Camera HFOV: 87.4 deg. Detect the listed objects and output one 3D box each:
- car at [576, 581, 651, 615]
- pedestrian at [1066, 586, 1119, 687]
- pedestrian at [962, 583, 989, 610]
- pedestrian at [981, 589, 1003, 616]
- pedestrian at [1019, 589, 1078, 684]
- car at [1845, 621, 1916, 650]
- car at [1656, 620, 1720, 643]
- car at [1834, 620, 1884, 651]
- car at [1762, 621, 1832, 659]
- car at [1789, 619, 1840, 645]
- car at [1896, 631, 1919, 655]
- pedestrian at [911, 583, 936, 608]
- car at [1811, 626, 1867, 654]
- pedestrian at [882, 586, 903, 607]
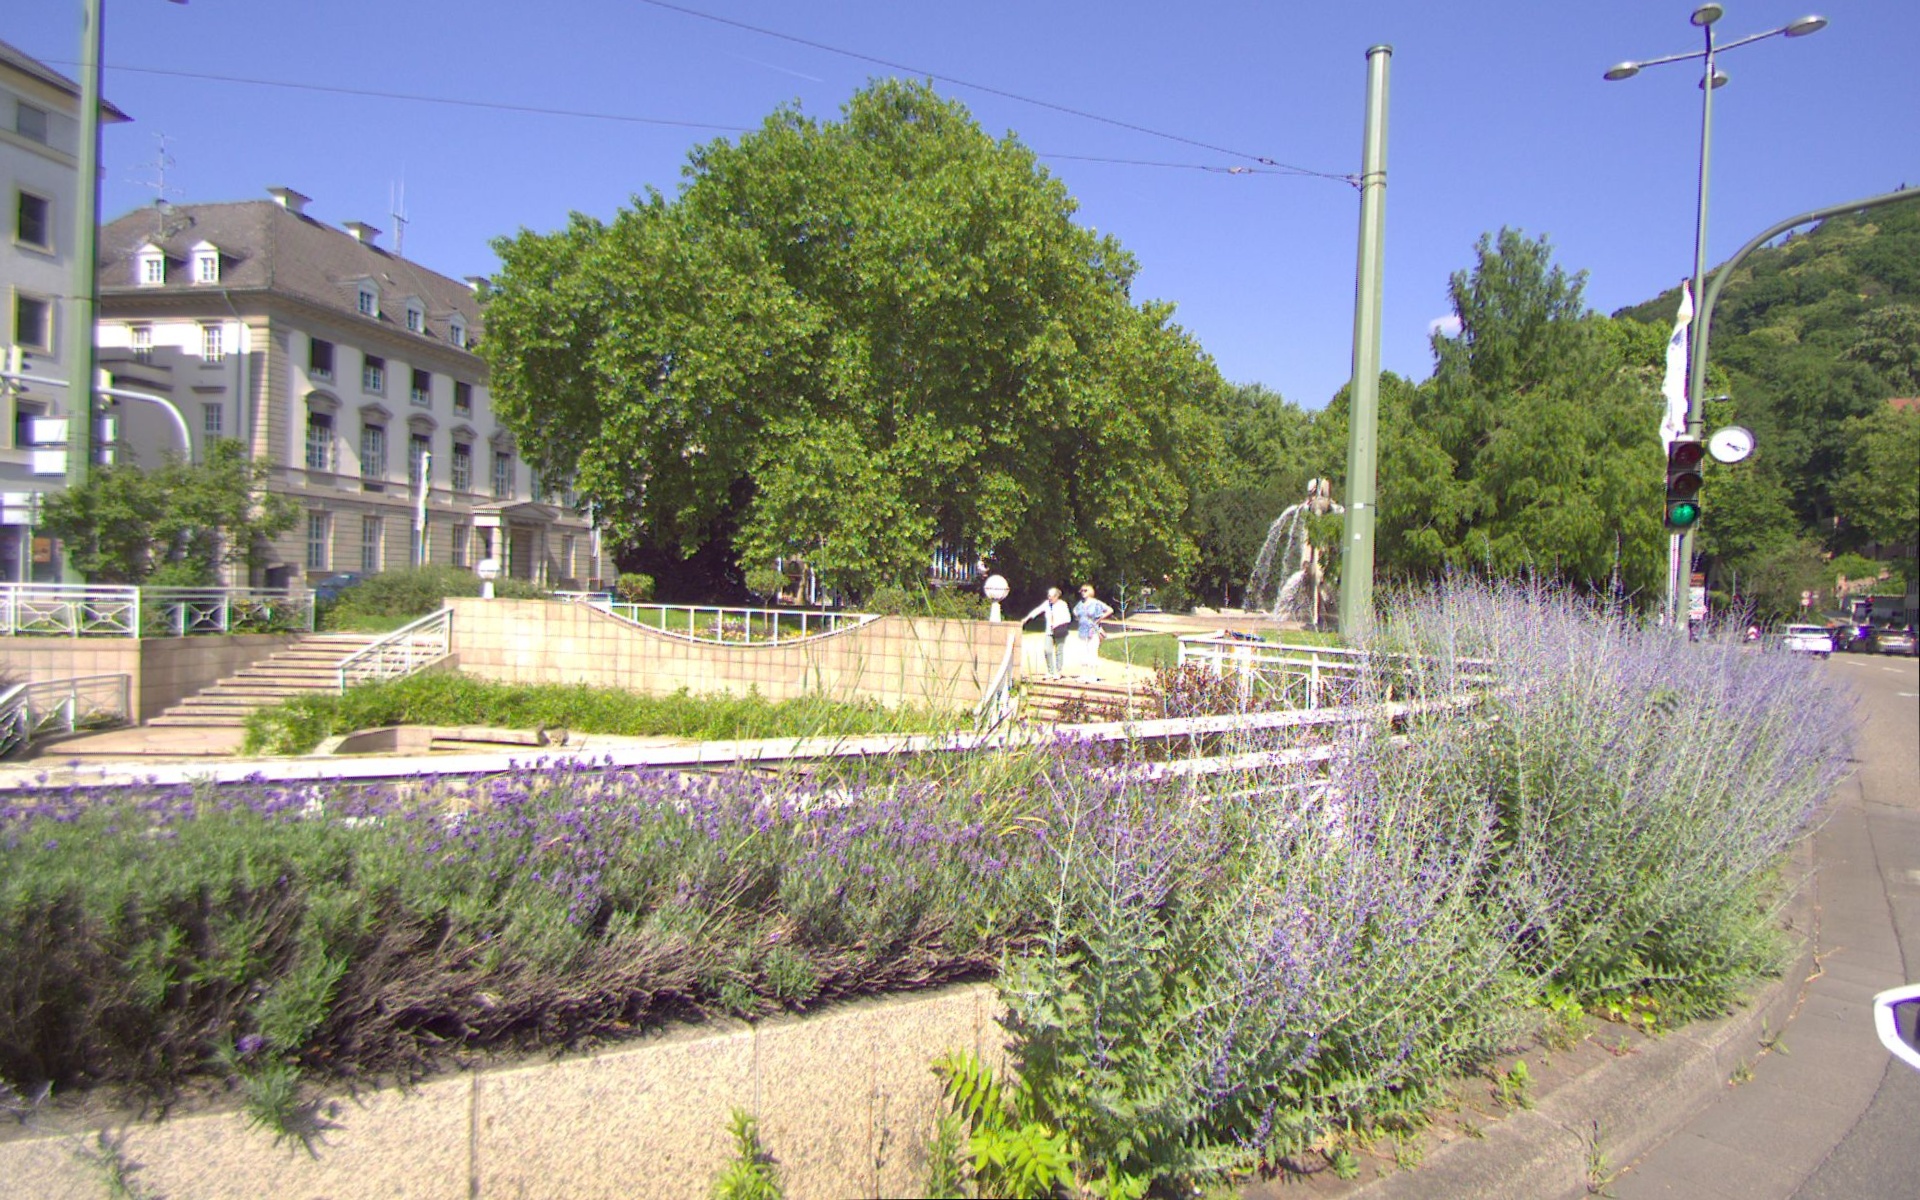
[{"bbox_3d":[-15.629,-0.105,45.483,1.579,1.397,3.587,2,1,11],"label":"car"},{"bbox_3d":[2.200,0.590,16.636,0.679,1.614,0.599,2,1,24],"label":"pedestrian"},{"bbox_3d":[0.770,-0.172,48.950,1.049,1.242,0.748,2,1,-38],"label":"pedestrian"},{"bbox_3d":[1.529,0.126,48.187,0.664,1.242,0.748,2,1,-38],"label":"pedestrian"},{"bbox_3d":[1.498,0.602,16.953,0.835,1.530,0.475,2,1,24],"label":"pedestrian"},{"bbox_3d":[48.847,1.868,53.381,1.729,1.352,3.797,3,1,26],"label":"car"},{"bbox_3d":[49.897,2.140,68.911,1.823,1.483,3.846,2,0,5],"label":"car"},{"bbox_3d":[60.220,2.351,67.361,1.730,1.964,3.487,3,1,30],"label":"car"},{"bbox_3d":[36.597,1.724,43.980,1.816,1.480,3.485,3,1,32],"label":"car"},{"bbox_3d":[53.769,1.986,63.248,1.730,1.480,3.639,3,1,30],"label":"car"},{"bbox_3d":[53.300,2.388,55.354,1.730,1.229,3.487,3,1,30],"label":"car"},{"bbox_3d":[-1.923,-0.235,52.748,1.049,1.242,0.748,2,1,-38],"label":"pedestrian"},{"bbox_3d":[51.450,2.317,58.852,1.730,1.480,3.487,3,1,30],"label":"car"},{"bbox_3d":[-4.076,-0.214,60.527,1.043,1.242,0.753,2,1,-21],"label":"pedestrian"}]
